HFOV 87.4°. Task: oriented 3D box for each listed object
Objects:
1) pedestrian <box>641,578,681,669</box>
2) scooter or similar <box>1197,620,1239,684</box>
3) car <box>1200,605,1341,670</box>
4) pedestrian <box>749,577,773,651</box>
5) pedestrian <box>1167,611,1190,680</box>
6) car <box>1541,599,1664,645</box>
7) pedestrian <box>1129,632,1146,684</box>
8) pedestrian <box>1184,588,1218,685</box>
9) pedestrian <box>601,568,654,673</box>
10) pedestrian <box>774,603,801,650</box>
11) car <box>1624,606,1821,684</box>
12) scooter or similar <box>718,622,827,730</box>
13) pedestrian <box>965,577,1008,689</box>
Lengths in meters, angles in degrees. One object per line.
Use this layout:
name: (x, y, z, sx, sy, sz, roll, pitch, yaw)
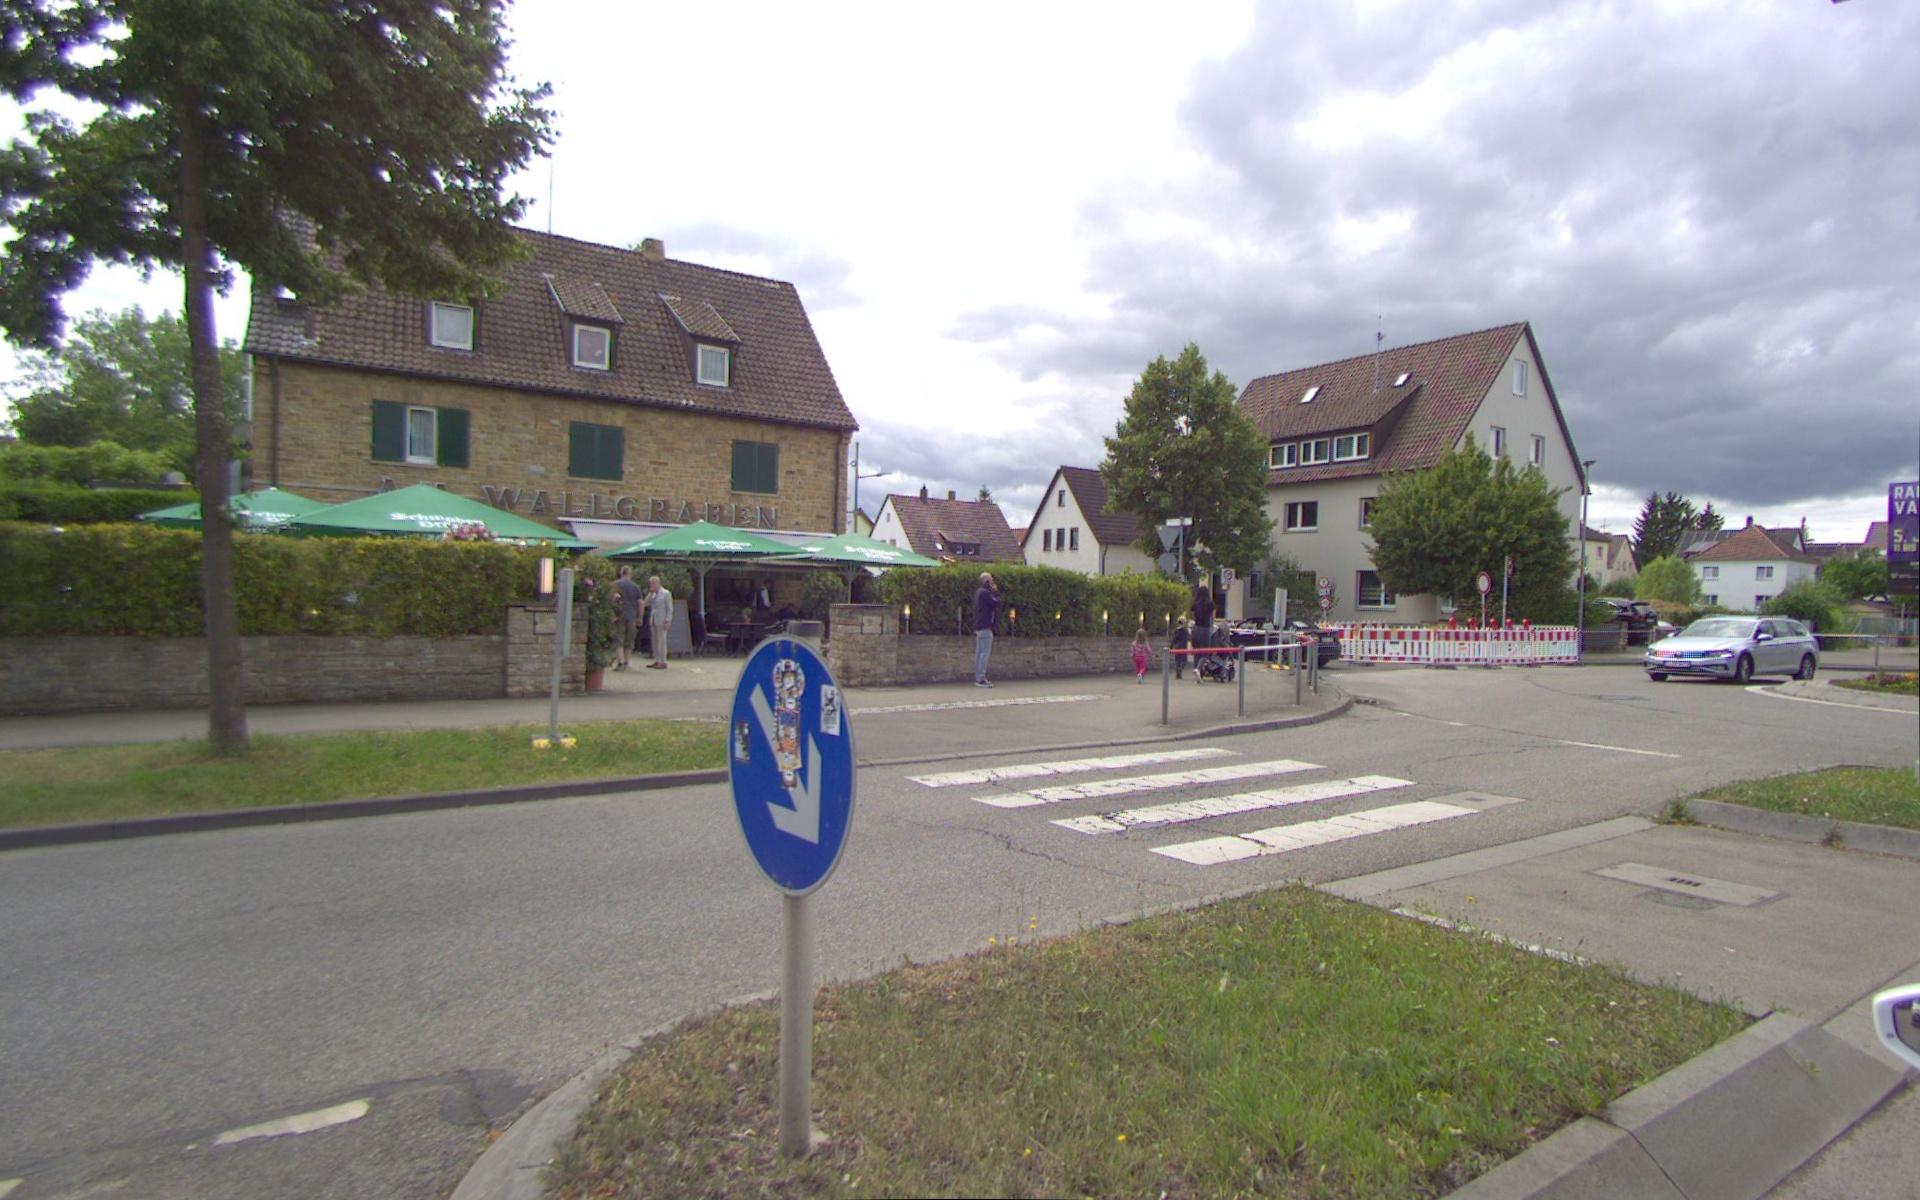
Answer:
pedestrian: (-5.526, 0.431, 18.565, 0.605, 1.665, 0.454, 1, 0, -4)
scooter or similar: (4.757, 0.944, 18.468, 0.400, 1.110, 0.967, 4, 2, 34)
car: (8.570, 0.983, 27.951, 1.557, 1.656, 3.588, 1, 0, -33)
pedestrian: (-4.930, 0.336, 24.865, 0.562, 1.808, 0.642, 1, 0, -13)
pedestrian: (4.076, 0.845, 18.704, 0.336, 1.261, 0.354, 1, 0, 25)
car: (23.797, 0.780, 37.318, 1.580, 1.632, 3.574, 1, 0, -28)
pedestrian: (3.134, 1.014, 17.698, 0.234, 0.906, 0.259, 0, 0, 24)
pedestrian: (4.288, 0.640, 17.842, 0.474, 1.692, 0.515, 1, 0, 25)
pedestrian: (-5.852, 0.349, 17.674, 0.742, 1.808, 0.566, 0, 0, -37)
pedestrian: (-4.360, 0.665, 25.335, 0.633, 1.162, 0.571, 1, 0, -12)
car: (17.093, 0.956, 22.506, 4.203, 1.581, 1.863, 1, 0, -26)
scooter or similar: (-2.125, 0.833, 11.326, 1.264, 1.154, 0.347, 1, 0, 28)
pedestrian: (0.432, 0.532, 16.483, 0.532, 1.808, 0.560, 1, 0, -17)
